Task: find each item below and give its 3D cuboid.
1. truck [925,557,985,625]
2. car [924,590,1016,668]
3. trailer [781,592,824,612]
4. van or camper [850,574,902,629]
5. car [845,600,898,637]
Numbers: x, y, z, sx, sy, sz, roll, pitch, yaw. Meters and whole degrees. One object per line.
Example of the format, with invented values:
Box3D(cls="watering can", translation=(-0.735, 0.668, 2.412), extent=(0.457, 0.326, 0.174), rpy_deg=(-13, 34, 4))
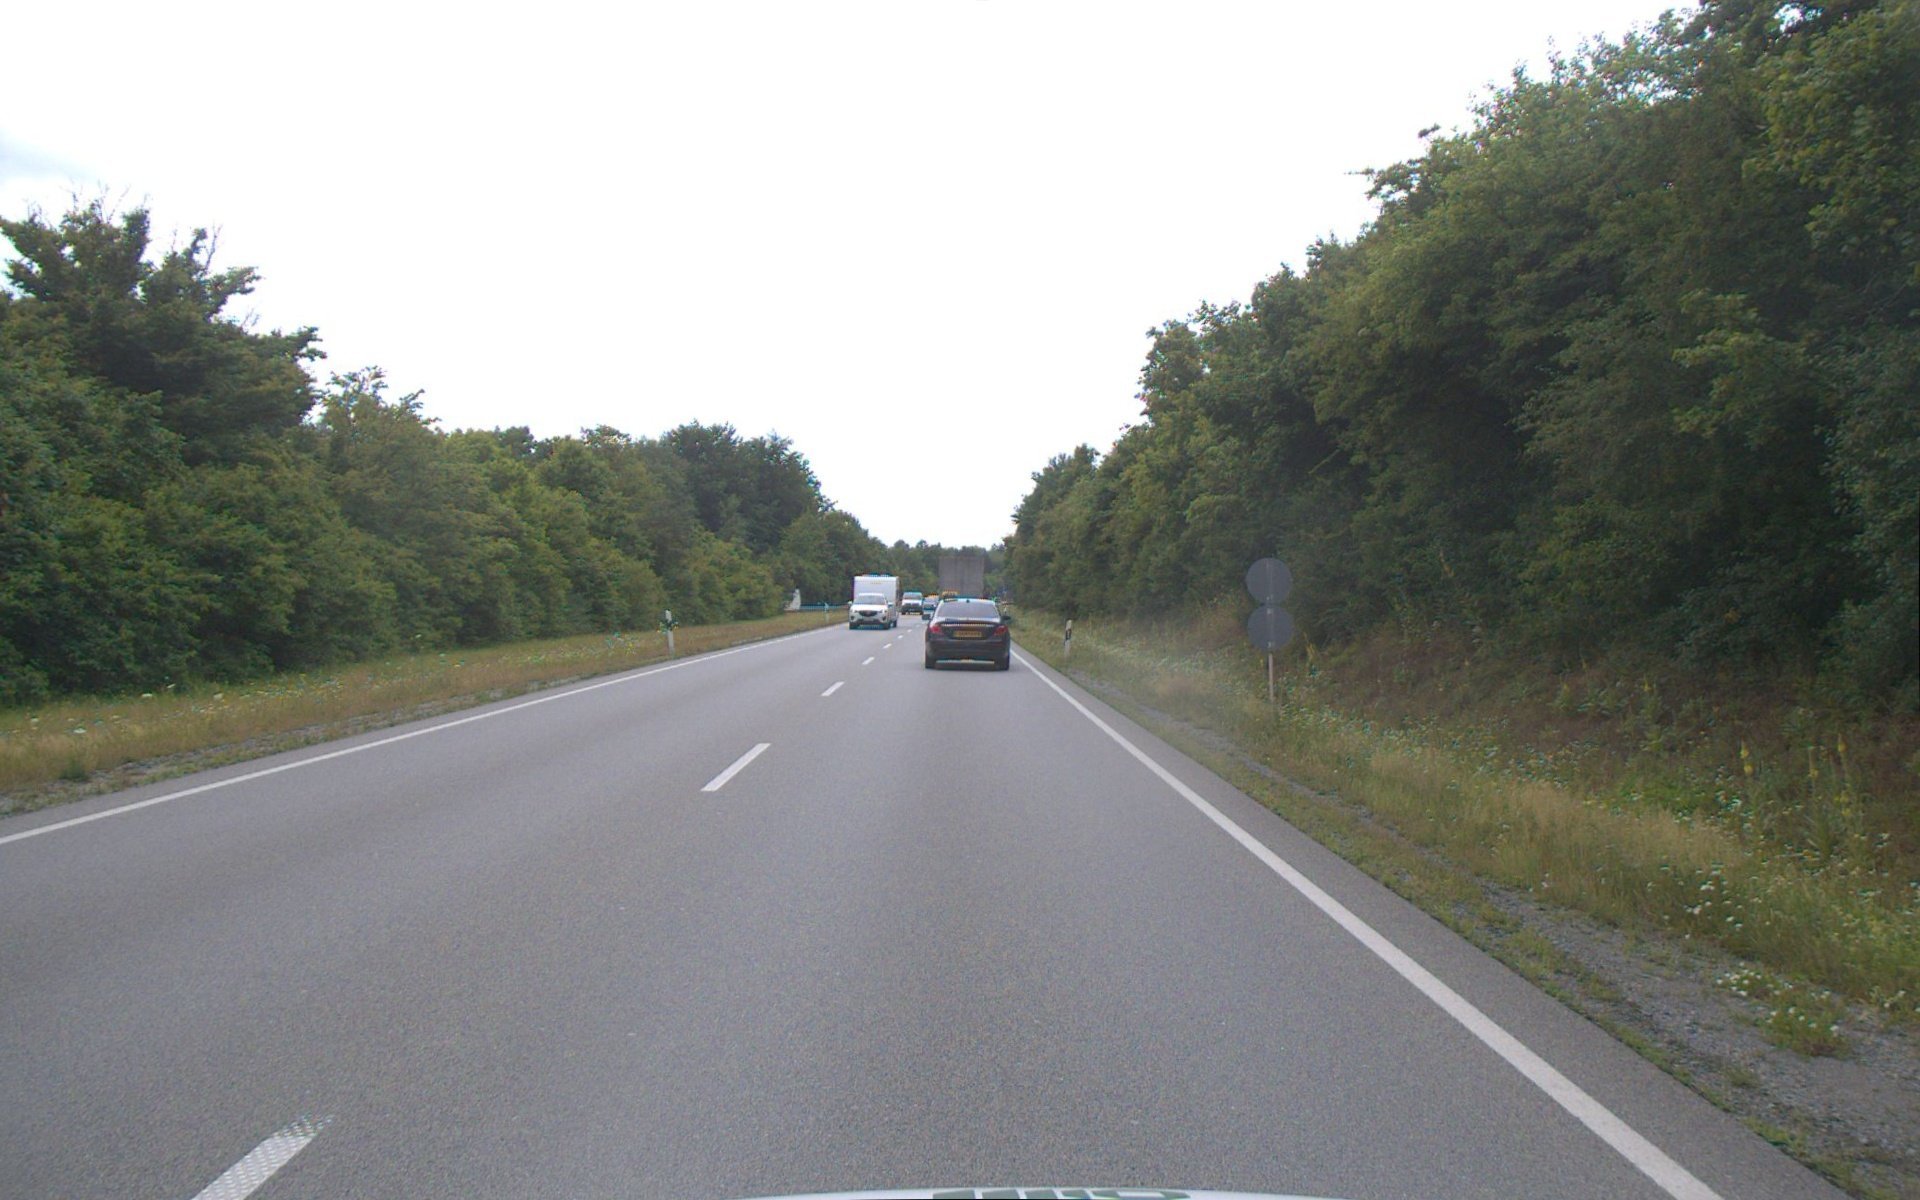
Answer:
Box3D(cls="truck", translation=(-0.172, -0.500, 96.923), extent=(3.213, 3.675, 11.401), rpy_deg=(1, 0, 1))
Box3D(cls="car", translation=(0.171, 0.602, 35.944), extent=(1.755, 1.579, 3.998), rpy_deg=(1, 0, -3))
Box3D(cls="trailer", translation=(-17.251, 0.206, 181.251), extent=(1.958, 2.049, 5.109), rpy_deg=(1, 0, 32))
Box3D(cls="van or camper", translation=(-4.179, 0.092, 83.429), extent=(2.331, 2.620, 6.278), rpy_deg=(1, 0, -1))
Box3D(cls="car", translation=(-4.130, 0.850, 77.793), extent=(2.232, 1.631, 4.691), rpy_deg=(1, 0, -1))
